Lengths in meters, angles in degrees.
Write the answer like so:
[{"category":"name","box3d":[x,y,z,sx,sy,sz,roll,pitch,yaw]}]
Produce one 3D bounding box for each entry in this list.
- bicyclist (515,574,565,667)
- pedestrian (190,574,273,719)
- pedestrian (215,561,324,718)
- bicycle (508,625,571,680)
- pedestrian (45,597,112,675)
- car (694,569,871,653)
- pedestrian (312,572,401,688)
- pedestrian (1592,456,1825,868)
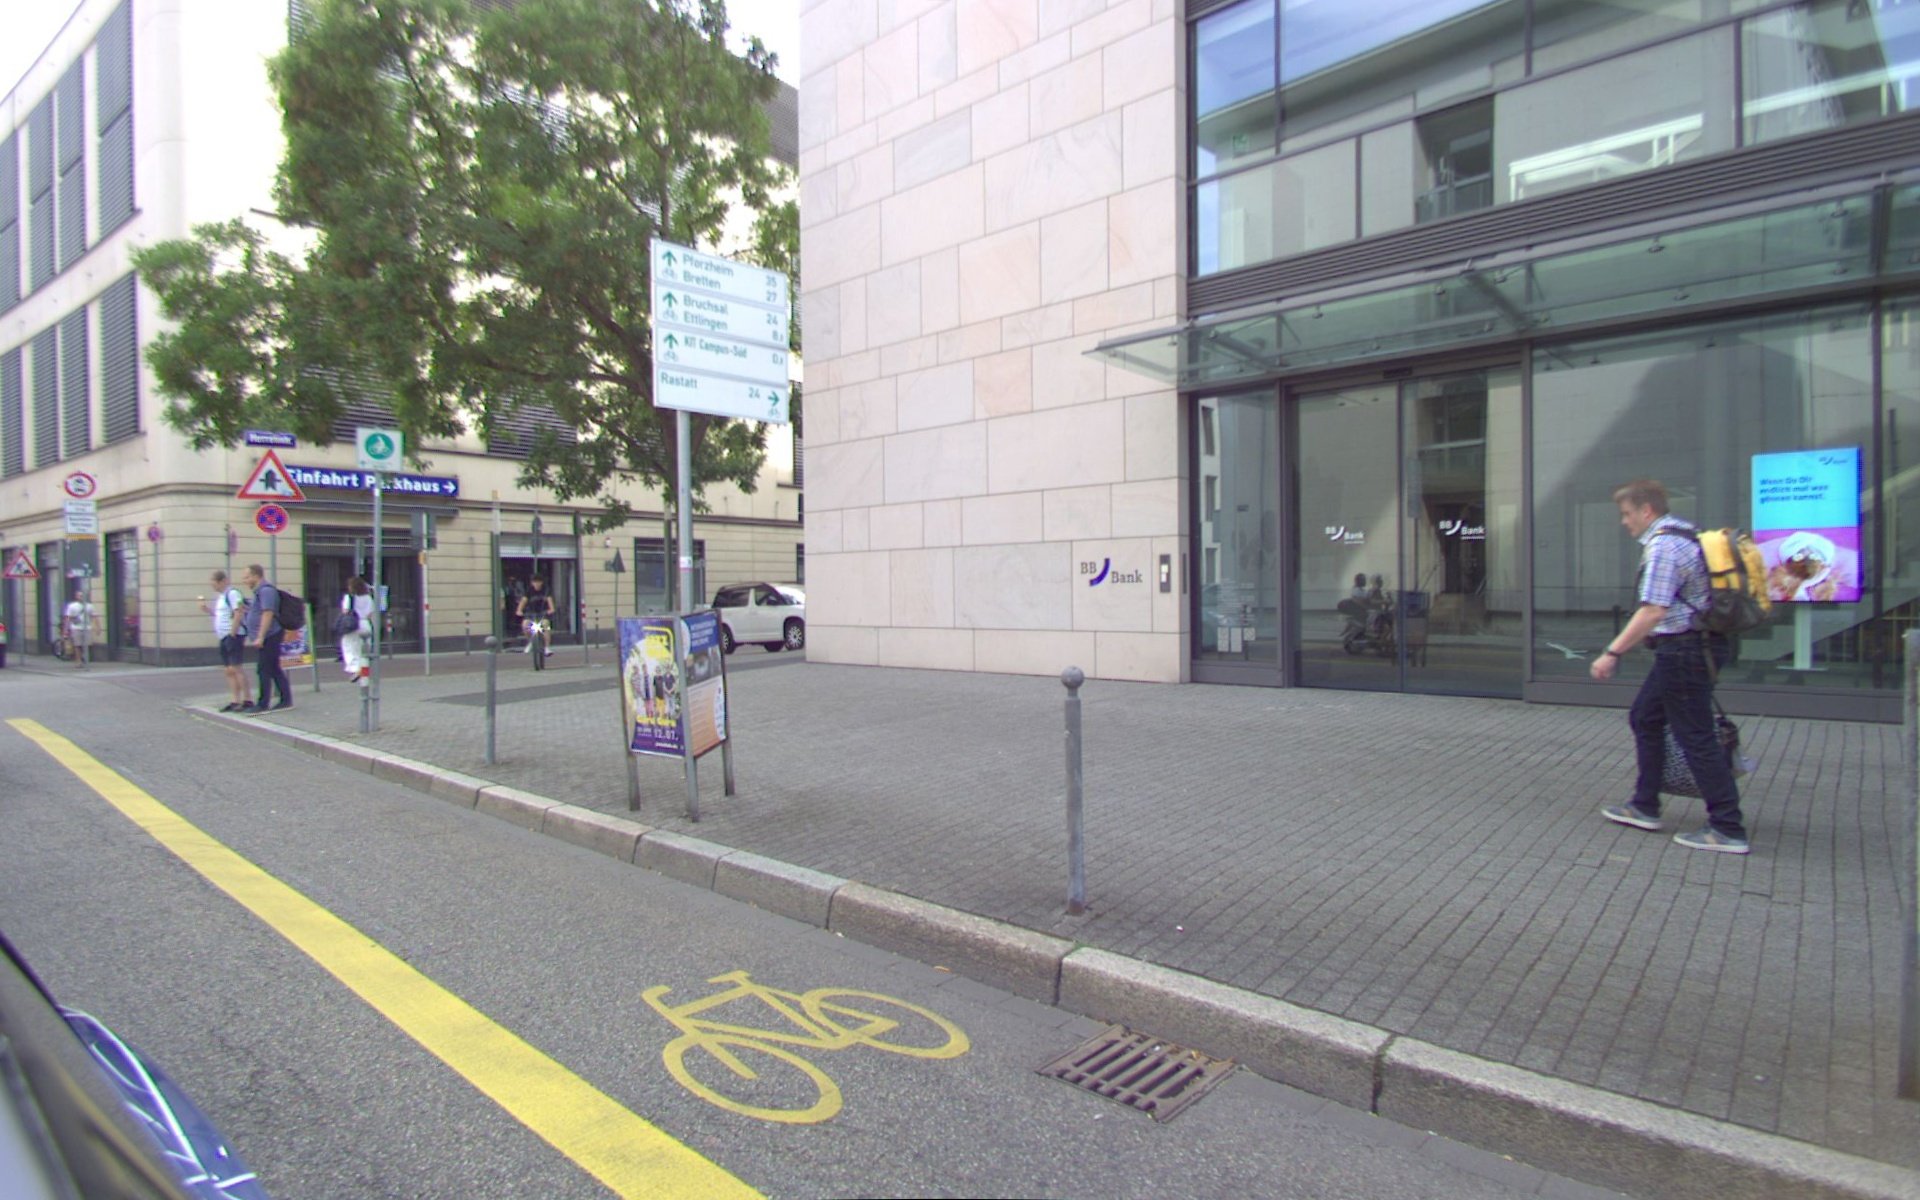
[{"category":"bicyclist","box3d":[-7.626,0.365,18.401,0.613,1.631,0.645,-3,1,-9]},{"category":"pedestrian","box3d":[-9.238,0.570,12.839,0.651,1.778,0.637,-1,0,30]},{"category":"pedestrian","box3d":[-8.508,0.467,12.481,0.753,1.827,0.738,-1,3,30]},{"category":"bicycle","box3d":[-7.601,0.929,18.353,0.592,0.840,1.728,-5,1,-9]},{"category":"pedestrian","box3d":[-21.480,0.863,24.668,1.058,1.778,0.883,-1,4,34]},{"category":"car","box3d":[-4.224,0.296,23.849,3.957,1.706,1.876,-5,-2,38]},{"category":"pedestrian","box3d":[-9.578,0.451,16.076,0.910,1.721,0.868,0,4,41]},{"category":"pedestrian","box3d":[3.644,0.241,4.906,0.818,1.732,1.015,0,3,41]}]
